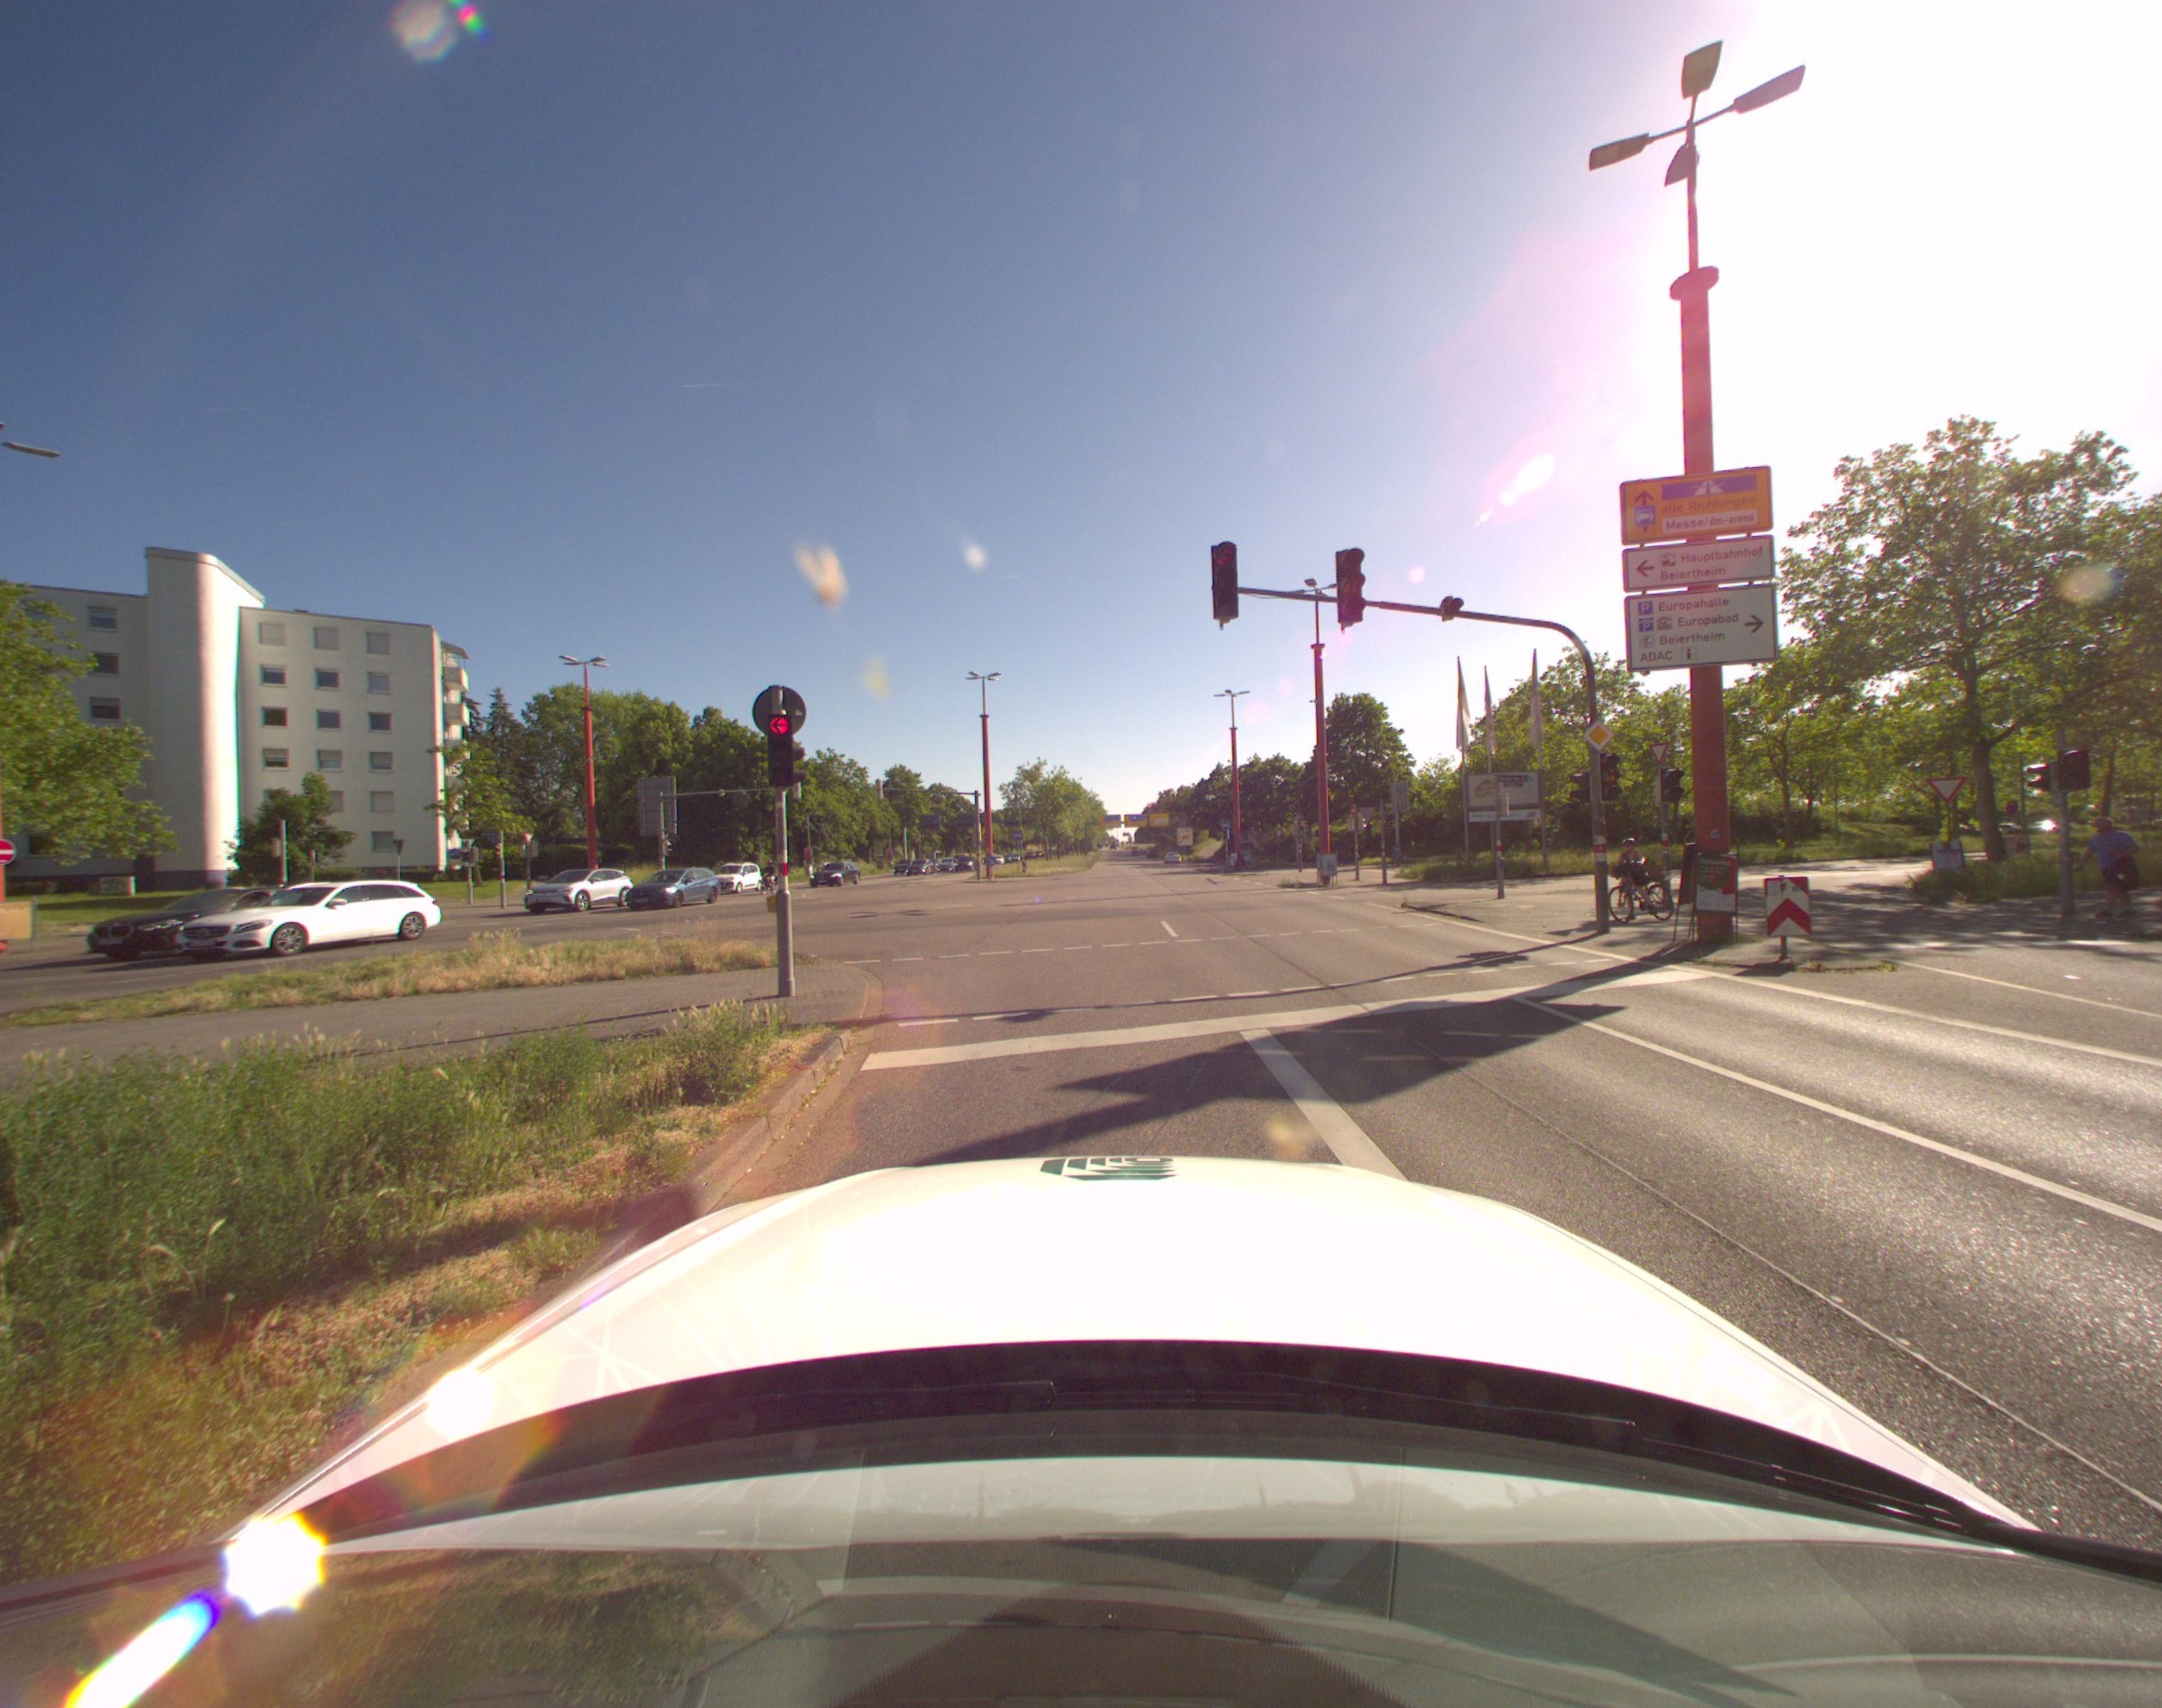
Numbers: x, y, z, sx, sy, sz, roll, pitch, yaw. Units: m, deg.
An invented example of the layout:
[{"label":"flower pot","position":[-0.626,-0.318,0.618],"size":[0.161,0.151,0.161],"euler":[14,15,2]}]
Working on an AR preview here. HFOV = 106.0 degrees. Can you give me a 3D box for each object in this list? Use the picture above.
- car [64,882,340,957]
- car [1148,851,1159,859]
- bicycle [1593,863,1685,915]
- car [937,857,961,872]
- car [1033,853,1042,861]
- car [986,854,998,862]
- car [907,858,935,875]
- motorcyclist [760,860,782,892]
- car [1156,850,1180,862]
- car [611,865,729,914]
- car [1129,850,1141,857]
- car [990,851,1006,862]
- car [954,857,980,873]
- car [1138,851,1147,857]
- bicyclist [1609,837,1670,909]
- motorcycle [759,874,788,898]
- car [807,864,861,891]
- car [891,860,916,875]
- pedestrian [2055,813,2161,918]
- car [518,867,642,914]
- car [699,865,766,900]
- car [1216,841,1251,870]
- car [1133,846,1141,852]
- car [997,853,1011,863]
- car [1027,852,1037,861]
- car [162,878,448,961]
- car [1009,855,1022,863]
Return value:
[{"label":"car","position":[-19.842,1.414,18.696],"size":[1.855,1.342,4.031],"euler":[-2,0,1]},{"label":"car","position":[13.459,0.163,151.506],"size":[1.731,1.341,3.083],"euler":[-2,0,2]},{"label":"bicycle","position":[10.843,0.652,15.795],"size":[2.175,0.878,0.554],"euler":[-2,0,-30]},{"label":"car","position":[-13.809,1.128,85.352],"size":[1.598,1.459,3.952],"euler":[-2,0,2]},{"label":"car","position":[-10.171,0.753,188.858],"size":[1.650,1.747,4.003],"euler":[-1,0,3]},{"label":"car","position":[-15.164,0.671,138.516],"size":[1.622,1.450,3.435],"euler":[-1,0,2]},{"label":"car","position":[-14.323,1.119,73.211],"size":[1.542,1.377,4.264],"euler":[-2,0,1]},{"label":"motorcyclist","position":[-15.654,1.106,41.138],"size":[0.830,1.599,0.642],"euler":[-1,-1,8]},{"label":"car","position":[10.470,0.283,98.067],"size":[2.051,1.371,4.385],"euler":[-2,0,-4]},{"label":"car","position":[-15.671,1.298,31.333],"size":[1.985,1.594,4.468],"euler":[-2,0,4]},{"label":"car","position":[11.583,-0.109,174.570],"size":[1.990,1.496,3.994],"euler":[-2,0,-4]},{"label":"car","position":[-12.357,0.380,121.817],"size":[1.697,1.596,4.003],"euler":[-1,0,3]},{"label":"car","position":[-10.844,1.023,77.551],"size":[1.694,1.421,4.002],"euler":[1,0,2]},{"label":"car","position":[14.979,-0.020,198.252],"size":[1.986,1.540,4.002],"euler":[-1,0,2]},{"label":"bicyclist","position":[10.873,0.355,15.872],"size":[0.744,1.341,0.701],"euler":[-2,0,-30]},{"label":"motorcycle","position":[-15.608,1.601,41.381],"size":[0.418,1.131,2.100],"euler":[-1,0,9]},{"label":"car","position":[-14.988,1.410,49.678],"size":[1.870,1.485,4.605],"euler":[-1,0,0]},{"label":"car","position":[-18.339,1.346,84.348],"size":[1.538,1.433,3.888],"euler":[-3,0,2]},{"label":"pedestrian","position":[18.158,0.185,14.360],"size":[0.887,1.788,0.901],"euler":[-1,1,3]},{"label":"car","position":[-19.325,1.367,31.666],"size":[1.830,1.601,4.442],"euler":[-2,0,4]},{"label":"car","position":[-19.138,1.533,44.930],"size":[1.793,1.707,4.062],"euler":[-2,0,2]},{"label":"car","position":[10.594,0.100,56.379],"size":[1.978,1.887,4.018],"euler":[-2,0,17]},{"label":"car","position":[17.031,-1.498,248.678],"size":[1.982,1.540,4.009],"euler":[-2,0,8]},{"label":"car","position":[-12.669,0.665,133.914],"size":[1.697,1.558,3.806],"euler":[-1,0,3]},{"label":"car","position":[-10.310,0.493,170.351],"size":[1.619,1.739,4.003],"euler":[-2,0,2]},{"label":"car","position":[-16.620,1.319,17.863],"size":[1.697,1.423,4.645],"euler":[-2,0,2]},{"label":"car","position":[-11.748,0.913,145.720],"size":[1.998,1.308,3.998],"euler":[-2,0,-1]}]
